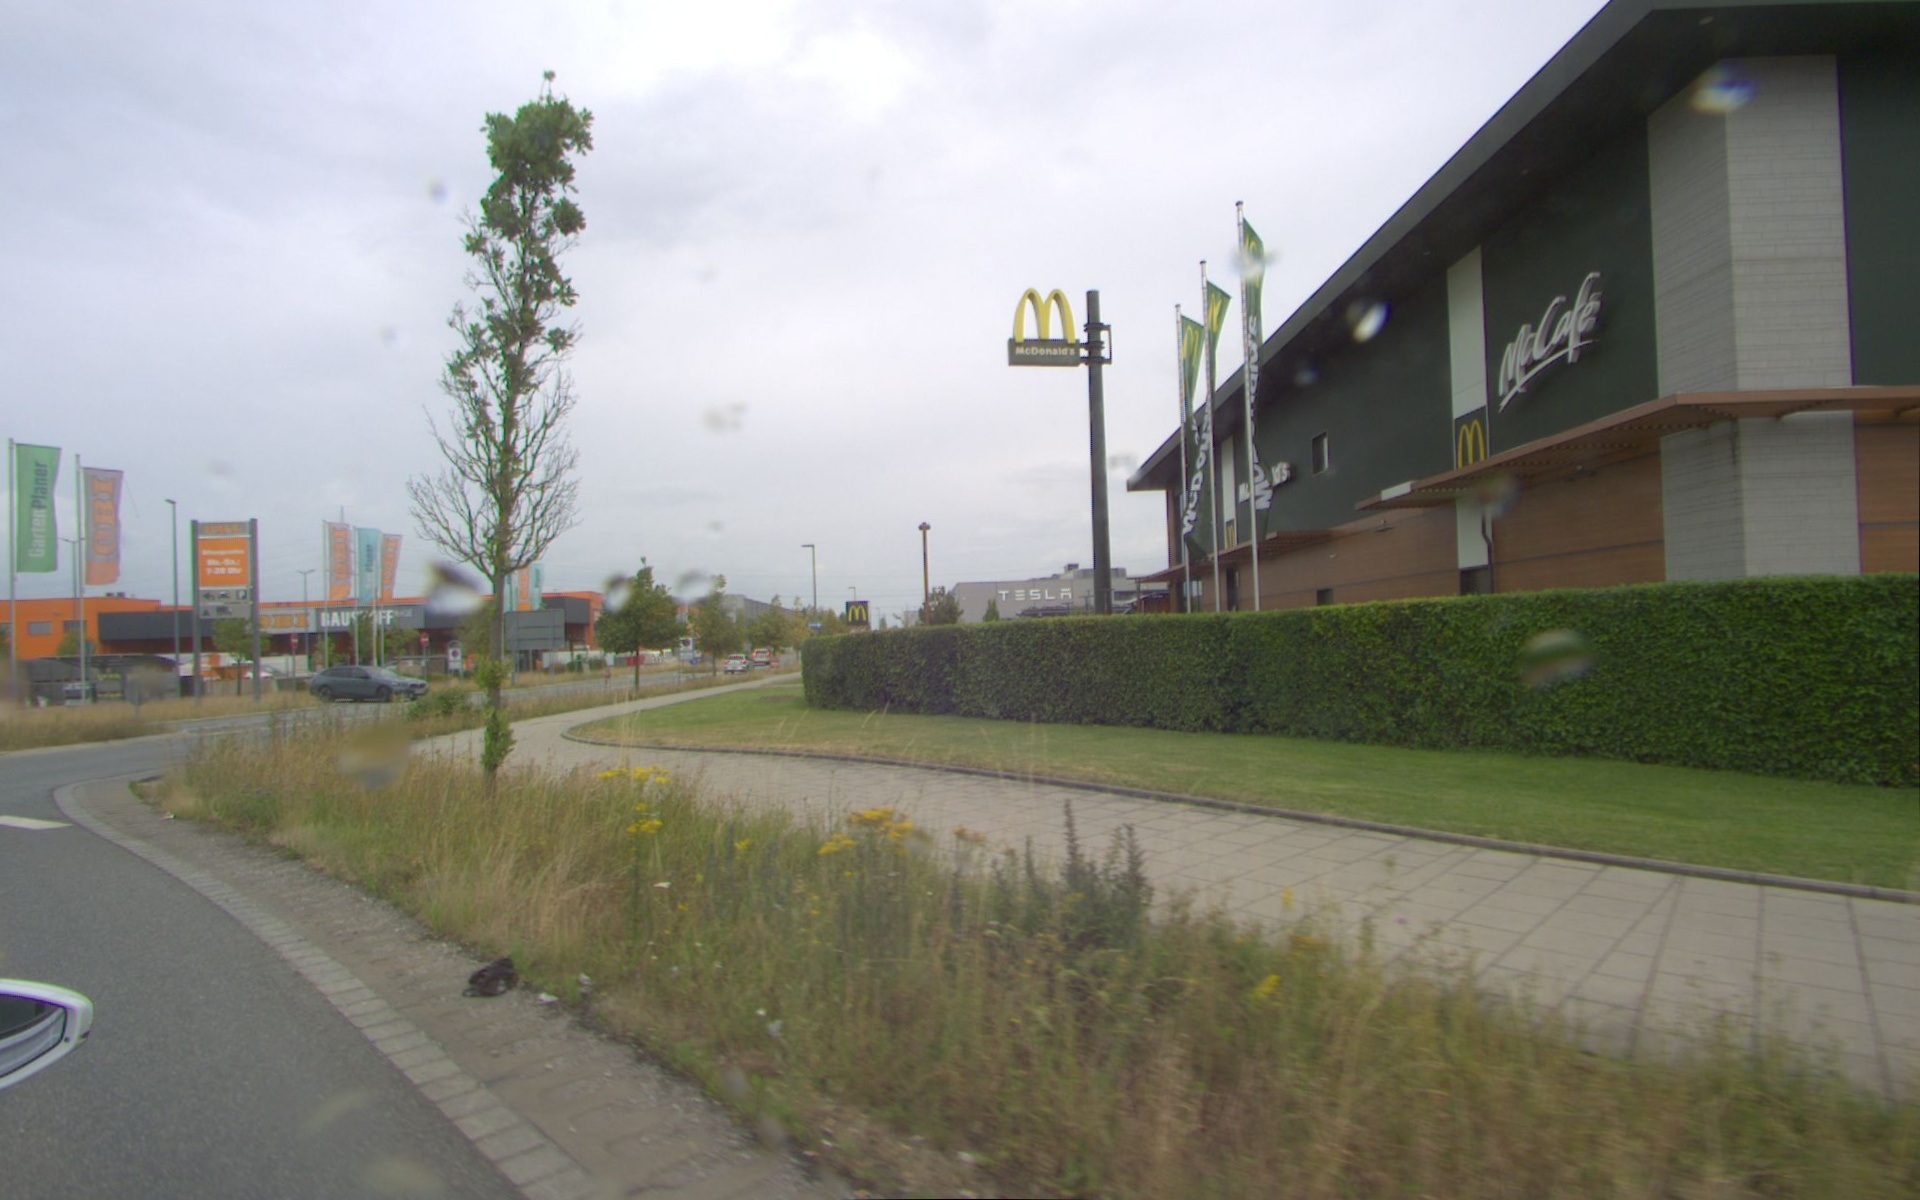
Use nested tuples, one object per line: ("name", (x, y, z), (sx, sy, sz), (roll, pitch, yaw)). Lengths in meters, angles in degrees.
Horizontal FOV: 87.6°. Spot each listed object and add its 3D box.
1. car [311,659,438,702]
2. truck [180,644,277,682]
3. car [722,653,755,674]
("car", (-24.969, 3.421, 42.767), (4.598, 1.525, 1.999), (-4, -4, 14))
("truck", (-55.806, 4.833, 76.489), (5.444, 2.514, 2.442), (-3, -3, -8))
("car", (-16.462, 4.703, 74.651), (1.778, 1.482, 4.002), (1, -3, -4))
